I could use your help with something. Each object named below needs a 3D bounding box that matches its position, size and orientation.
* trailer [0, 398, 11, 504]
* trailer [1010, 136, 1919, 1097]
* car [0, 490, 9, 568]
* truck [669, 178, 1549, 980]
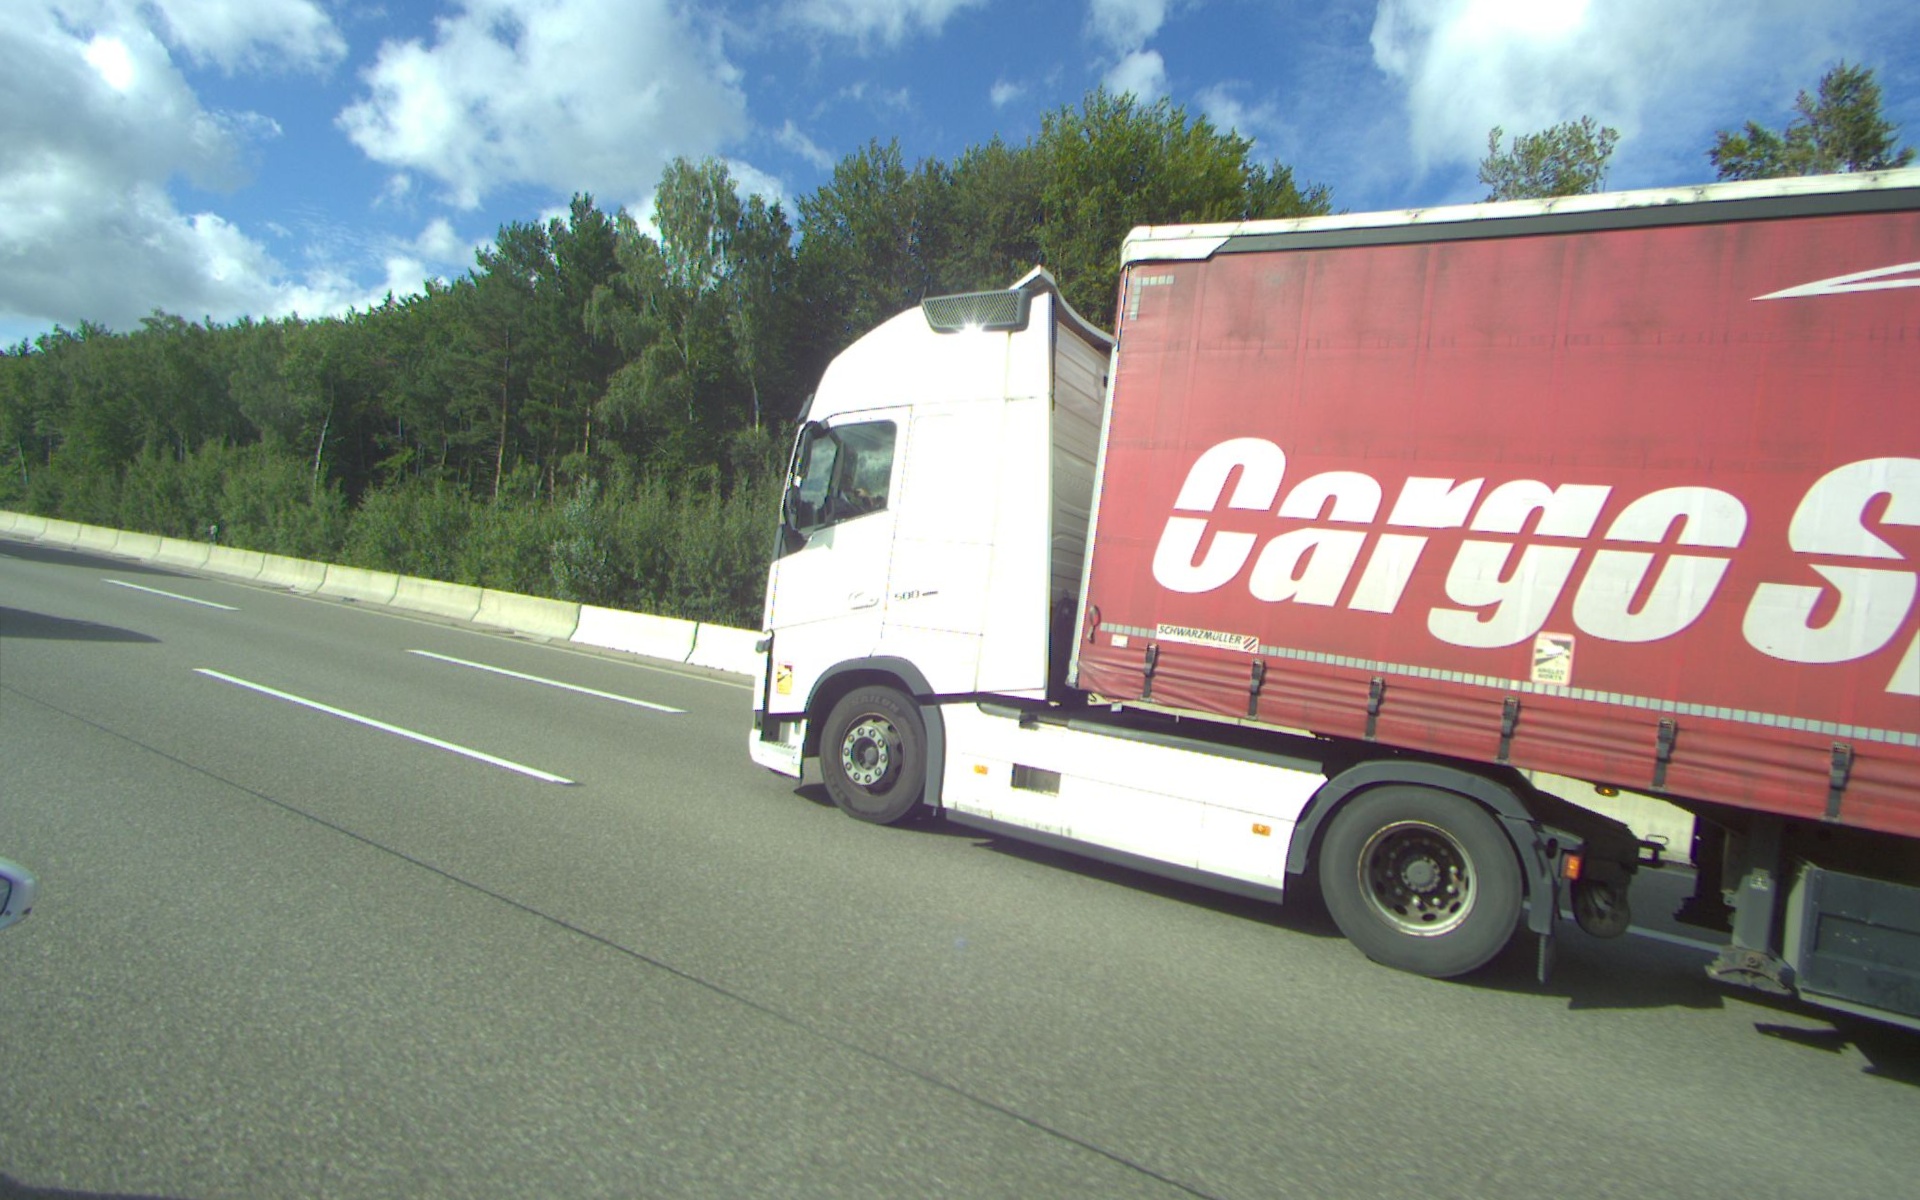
[{"bbox_3d":[-29.312,-3.743,26.941,11.664,3.813,2.652,7,0,32],"label":"trailer"},{"bbox_3d":[6.987,0.409,4.140,13.485,4.094,2.778,7,-1,31],"label":"trailer"},{"bbox_3d":[-12.987,-0.744,11.584,4.383,1.548,1.776,7,-1,31],"label":"car"},{"bbox_3d":[1.021,-0.268,7.772,5.677,4.094,2.778,7,0,31],"label":"truck"}]
